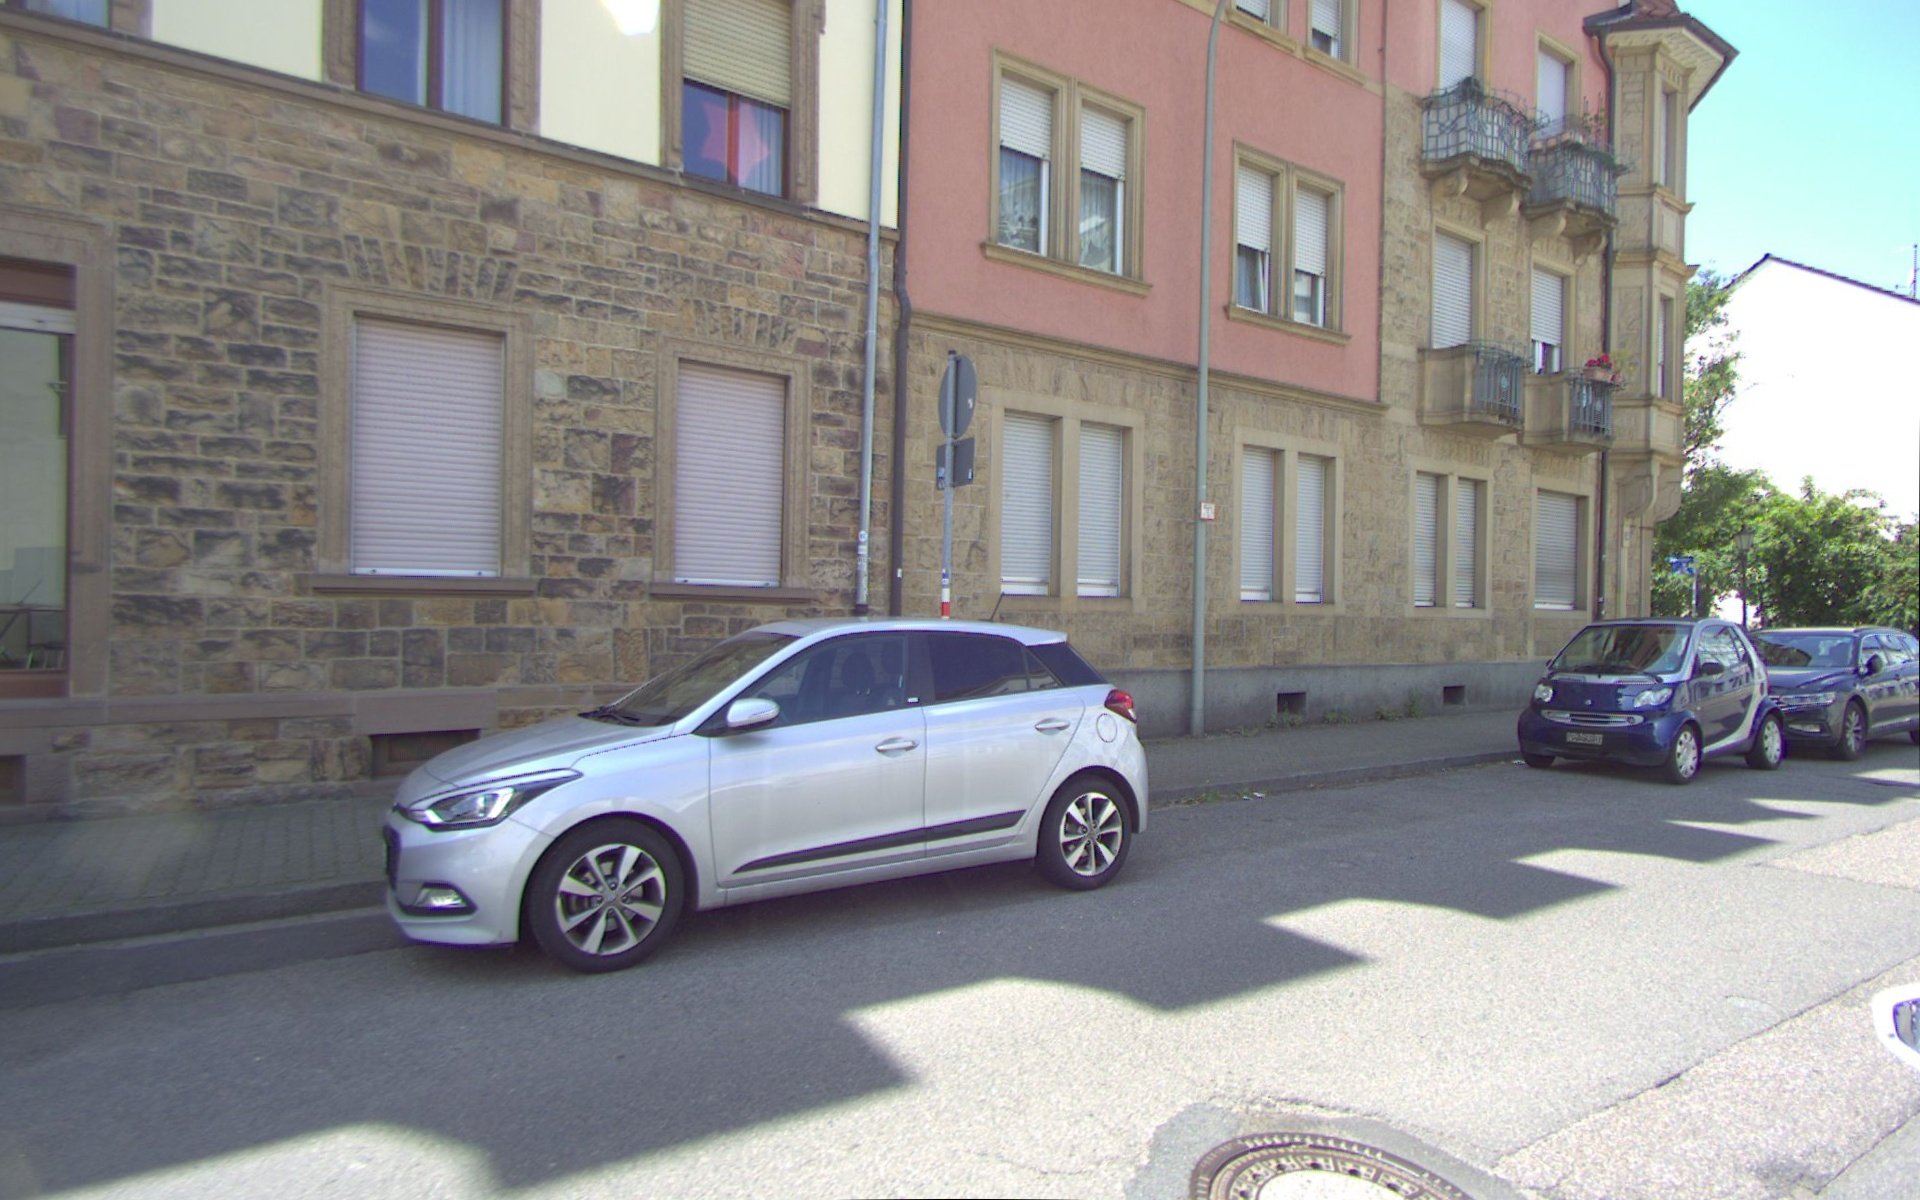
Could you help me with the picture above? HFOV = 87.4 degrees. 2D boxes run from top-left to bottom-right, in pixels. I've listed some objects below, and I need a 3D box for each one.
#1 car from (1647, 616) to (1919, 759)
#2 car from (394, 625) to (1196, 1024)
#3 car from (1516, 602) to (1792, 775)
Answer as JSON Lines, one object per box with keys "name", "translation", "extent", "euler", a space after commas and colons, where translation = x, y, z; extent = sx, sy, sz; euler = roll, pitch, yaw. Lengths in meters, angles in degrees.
{"name": "car", "translation": [10.617, 0.967, 12.449], "extent": [4.582, 1.477, 1.773], "euler": [1, -1, -32]}
{"name": "car", "translation": [-0.747, 0.864, 5.425], "extent": [3.973, 1.450, 1.626], "euler": [1, -2, -32]}
{"name": "car", "translation": [7.117, 0.820, 10.273], "extent": [2.666, 1.543, 1.428], "euler": [1, -1, -33]}
